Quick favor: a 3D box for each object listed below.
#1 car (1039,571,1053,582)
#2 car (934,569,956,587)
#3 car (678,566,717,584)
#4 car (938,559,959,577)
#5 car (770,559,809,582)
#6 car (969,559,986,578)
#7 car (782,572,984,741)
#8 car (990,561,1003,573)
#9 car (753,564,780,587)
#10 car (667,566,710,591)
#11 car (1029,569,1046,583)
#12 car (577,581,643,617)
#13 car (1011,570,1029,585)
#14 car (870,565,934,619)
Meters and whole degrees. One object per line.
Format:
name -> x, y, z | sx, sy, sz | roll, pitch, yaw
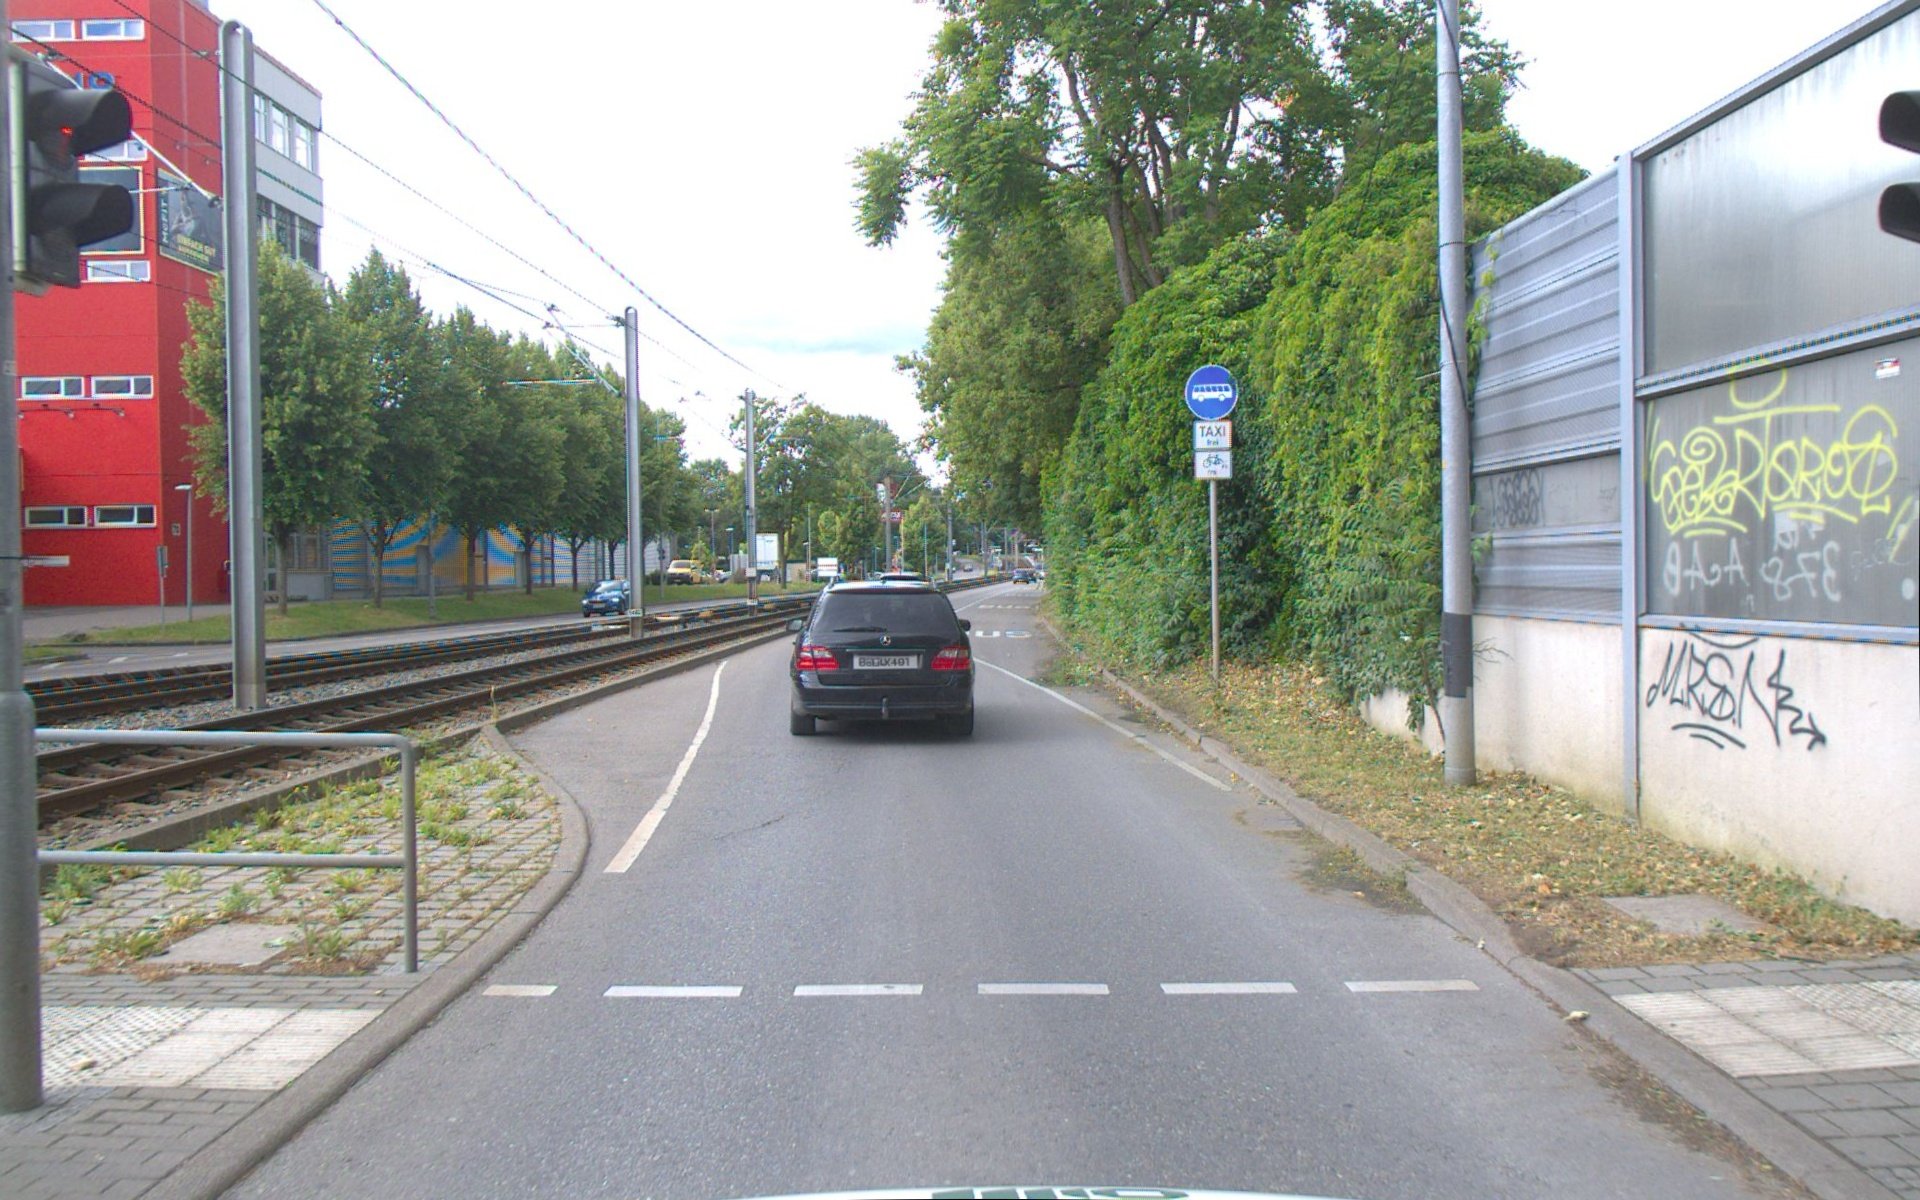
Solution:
car -> 11.578, -3.175, 222.117 | 1.787, 1.556, 4.180 | 0, 1, 2
car -> -1.279, -1.905, 144.153 | 1.787, 1.556, 3.987 | 0, 1, 2
car -> -28.379, -2.684, 179.012 | 3.921, 1.709, 1.992 | -3, 0, -15
car -> -1.008, -2.867, 148.923 | 1.787, 1.556, 3.987 | 0, 1, 2
car -> -18.024, -3.112, 175.069 | 3.909, 2.160, 1.998 | -3, 0, -5
car -> 1.965, -3.586, 188.929 | 1.853, 2.048, 3.898 | -3, 1, 0
car -> -0.656, 0.474, 16.967 | 1.795, 1.503, 4.416 | 0, 1, 1
car -> 4.980, -4.513, 226.435 | 1.787, 1.556, 4.180 | 0, 1, 2
car -> -18.019, -2.303, 154.469 | 1.953, 2.048, 4.000 | -3, 1, 0
car -> -20.312, -1.639, 123.956 | 1.951, 1.773, 4.990 | -2, 1, 4
car -> 8.463, -2.608, 181.198 | 1.787, 1.556, 4.180 | 0, 1, 2
car -> -14.458, -0.072, 68.506 | 1.624, 1.417, 3.721 | 0, 1, 5
car -> 6.122, -2.327, 168.806 | 1.787, 1.556, 4.417 | 0, 1, 2
car -> -1.729, -0.281, 50.348 | 1.788, 1.556, 4.416 | 0, 1, 0
